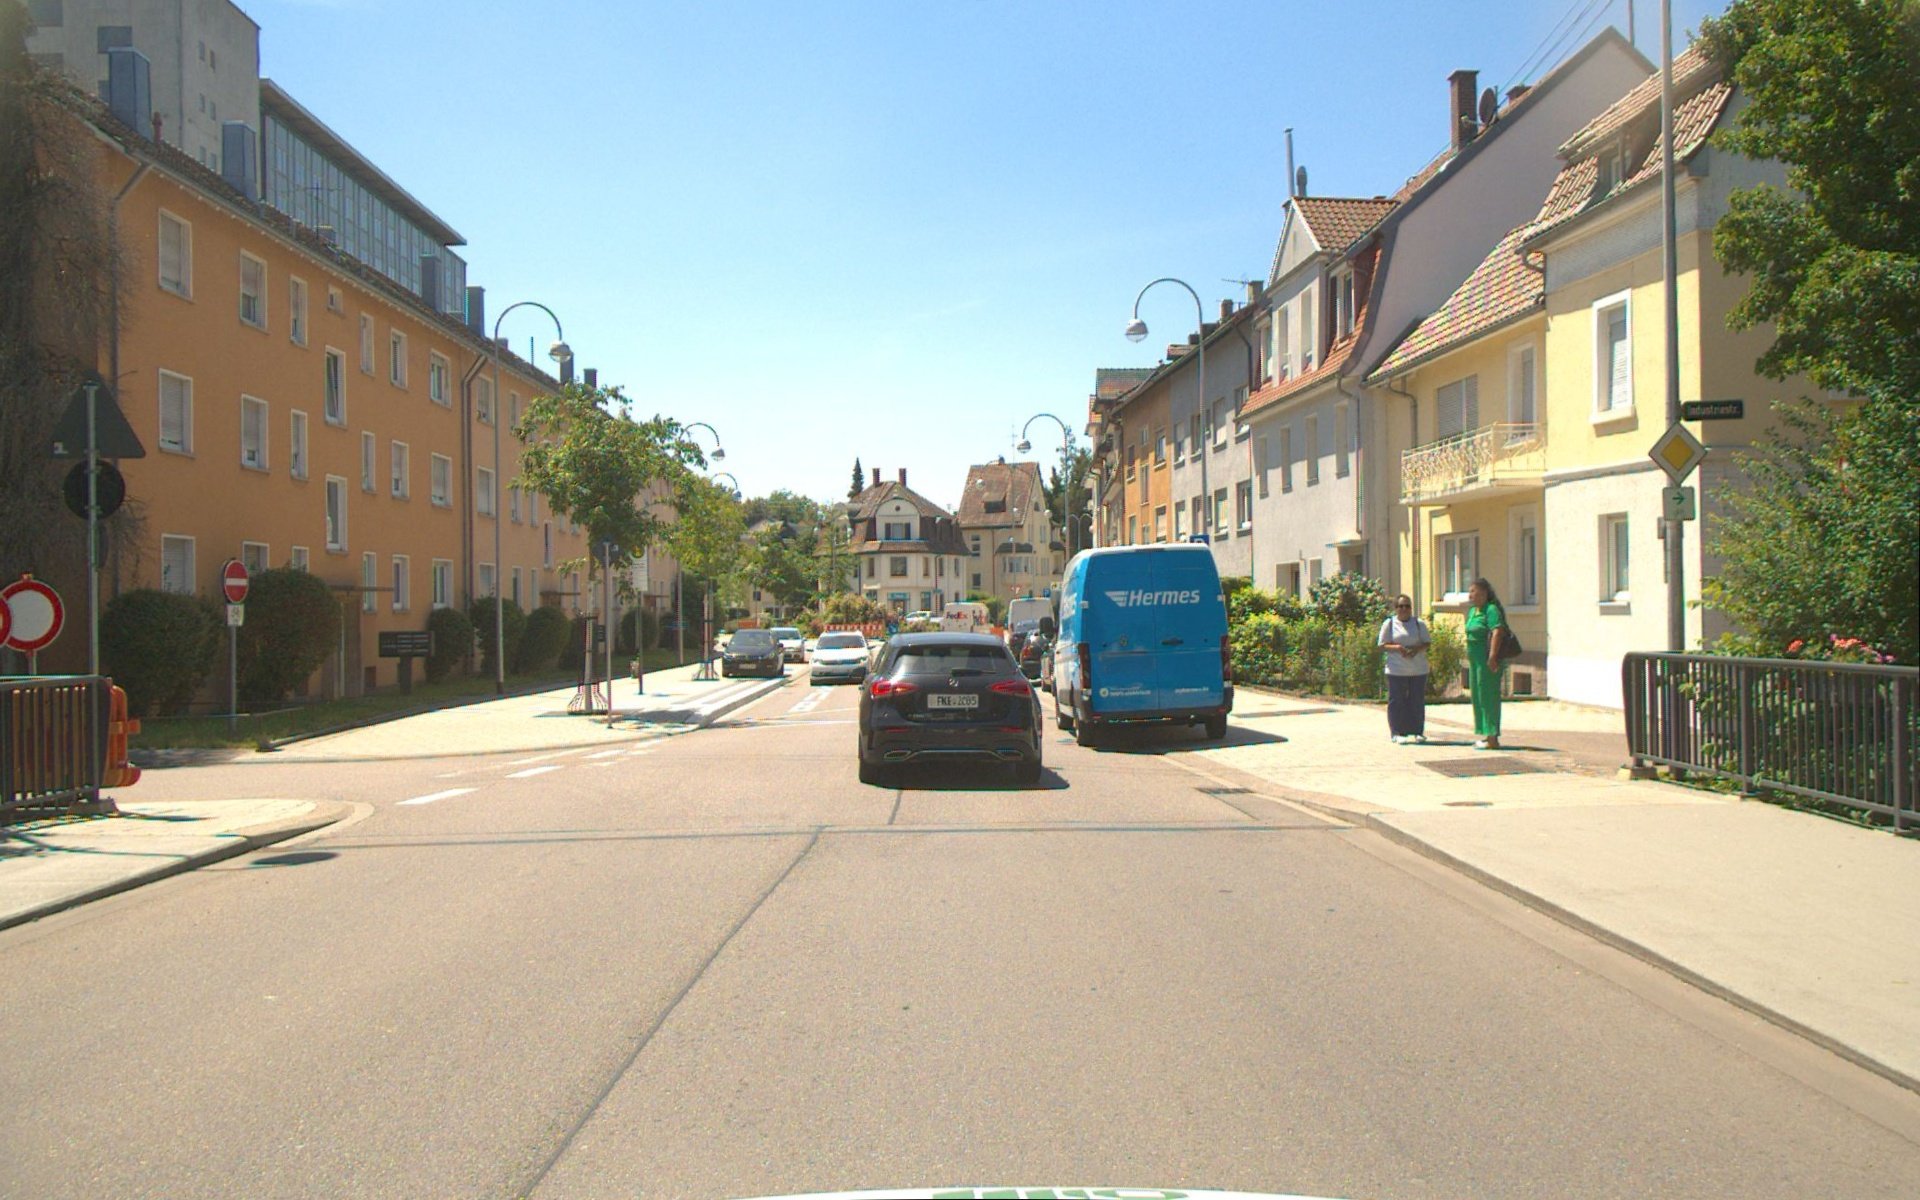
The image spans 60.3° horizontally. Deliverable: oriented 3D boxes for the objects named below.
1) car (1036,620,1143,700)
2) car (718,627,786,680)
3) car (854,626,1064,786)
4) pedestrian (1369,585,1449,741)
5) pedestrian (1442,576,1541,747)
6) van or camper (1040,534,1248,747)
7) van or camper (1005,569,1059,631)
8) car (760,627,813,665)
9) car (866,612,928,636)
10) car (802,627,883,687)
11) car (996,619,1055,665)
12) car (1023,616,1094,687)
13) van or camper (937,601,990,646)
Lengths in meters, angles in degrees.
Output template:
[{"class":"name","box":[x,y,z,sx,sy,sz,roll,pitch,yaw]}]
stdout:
[{"class":"car","box":[2.807,1.278,36.838,1.767,1.500,4.718,-4,0,-2]},{"class":"car","box":[-6.658,1.696,53.363,1.820,1.533,4.560,-1,0,-3]},{"class":"car","box":[-0.034,1.022,17.094,1.913,1.452,3.999,0,-2,-1]},{"class":"pedestrian","box":[5.041,0.701,18.597,0.624,1.683,0.521,-4,0,-4]},{"class":"pedestrian","box":[5.656,0.647,17.630,0.512,1.736,0.799,-4,0,-22]},{"class":"van or camper","box":[2.403,0.562,23.355,2.065,2.510,6.175,-3,-1,-1]},{"class":"van or camper","box":[3.245,0.026,75.469,2.120,2.634,5.765,-2,0,0]},{"class":"car","box":[-7.307,1.918,70.001,1.954,1.445,4.086,-1,0,-3]},{"class":"car","box":[-4.172,1.616,110.206,3.903,1.512,1.969,1,0,4]},{"class":"car","box":[-3.300,1.593,47.255,1.952,1.533,4.288,-1,0,0]},{"class":"car","box":[2.592,1.606,64.177,1.855,1.635,4.367,-3,-1,7]},{"class":"car","box":[2.577,1.318,43.844,1.693,1.661,4.001,-3,0,2]},{"class":"van or camper","box":[0.250,1.409,99.344,2.159,2.656,4.002,0,0,17]}]
